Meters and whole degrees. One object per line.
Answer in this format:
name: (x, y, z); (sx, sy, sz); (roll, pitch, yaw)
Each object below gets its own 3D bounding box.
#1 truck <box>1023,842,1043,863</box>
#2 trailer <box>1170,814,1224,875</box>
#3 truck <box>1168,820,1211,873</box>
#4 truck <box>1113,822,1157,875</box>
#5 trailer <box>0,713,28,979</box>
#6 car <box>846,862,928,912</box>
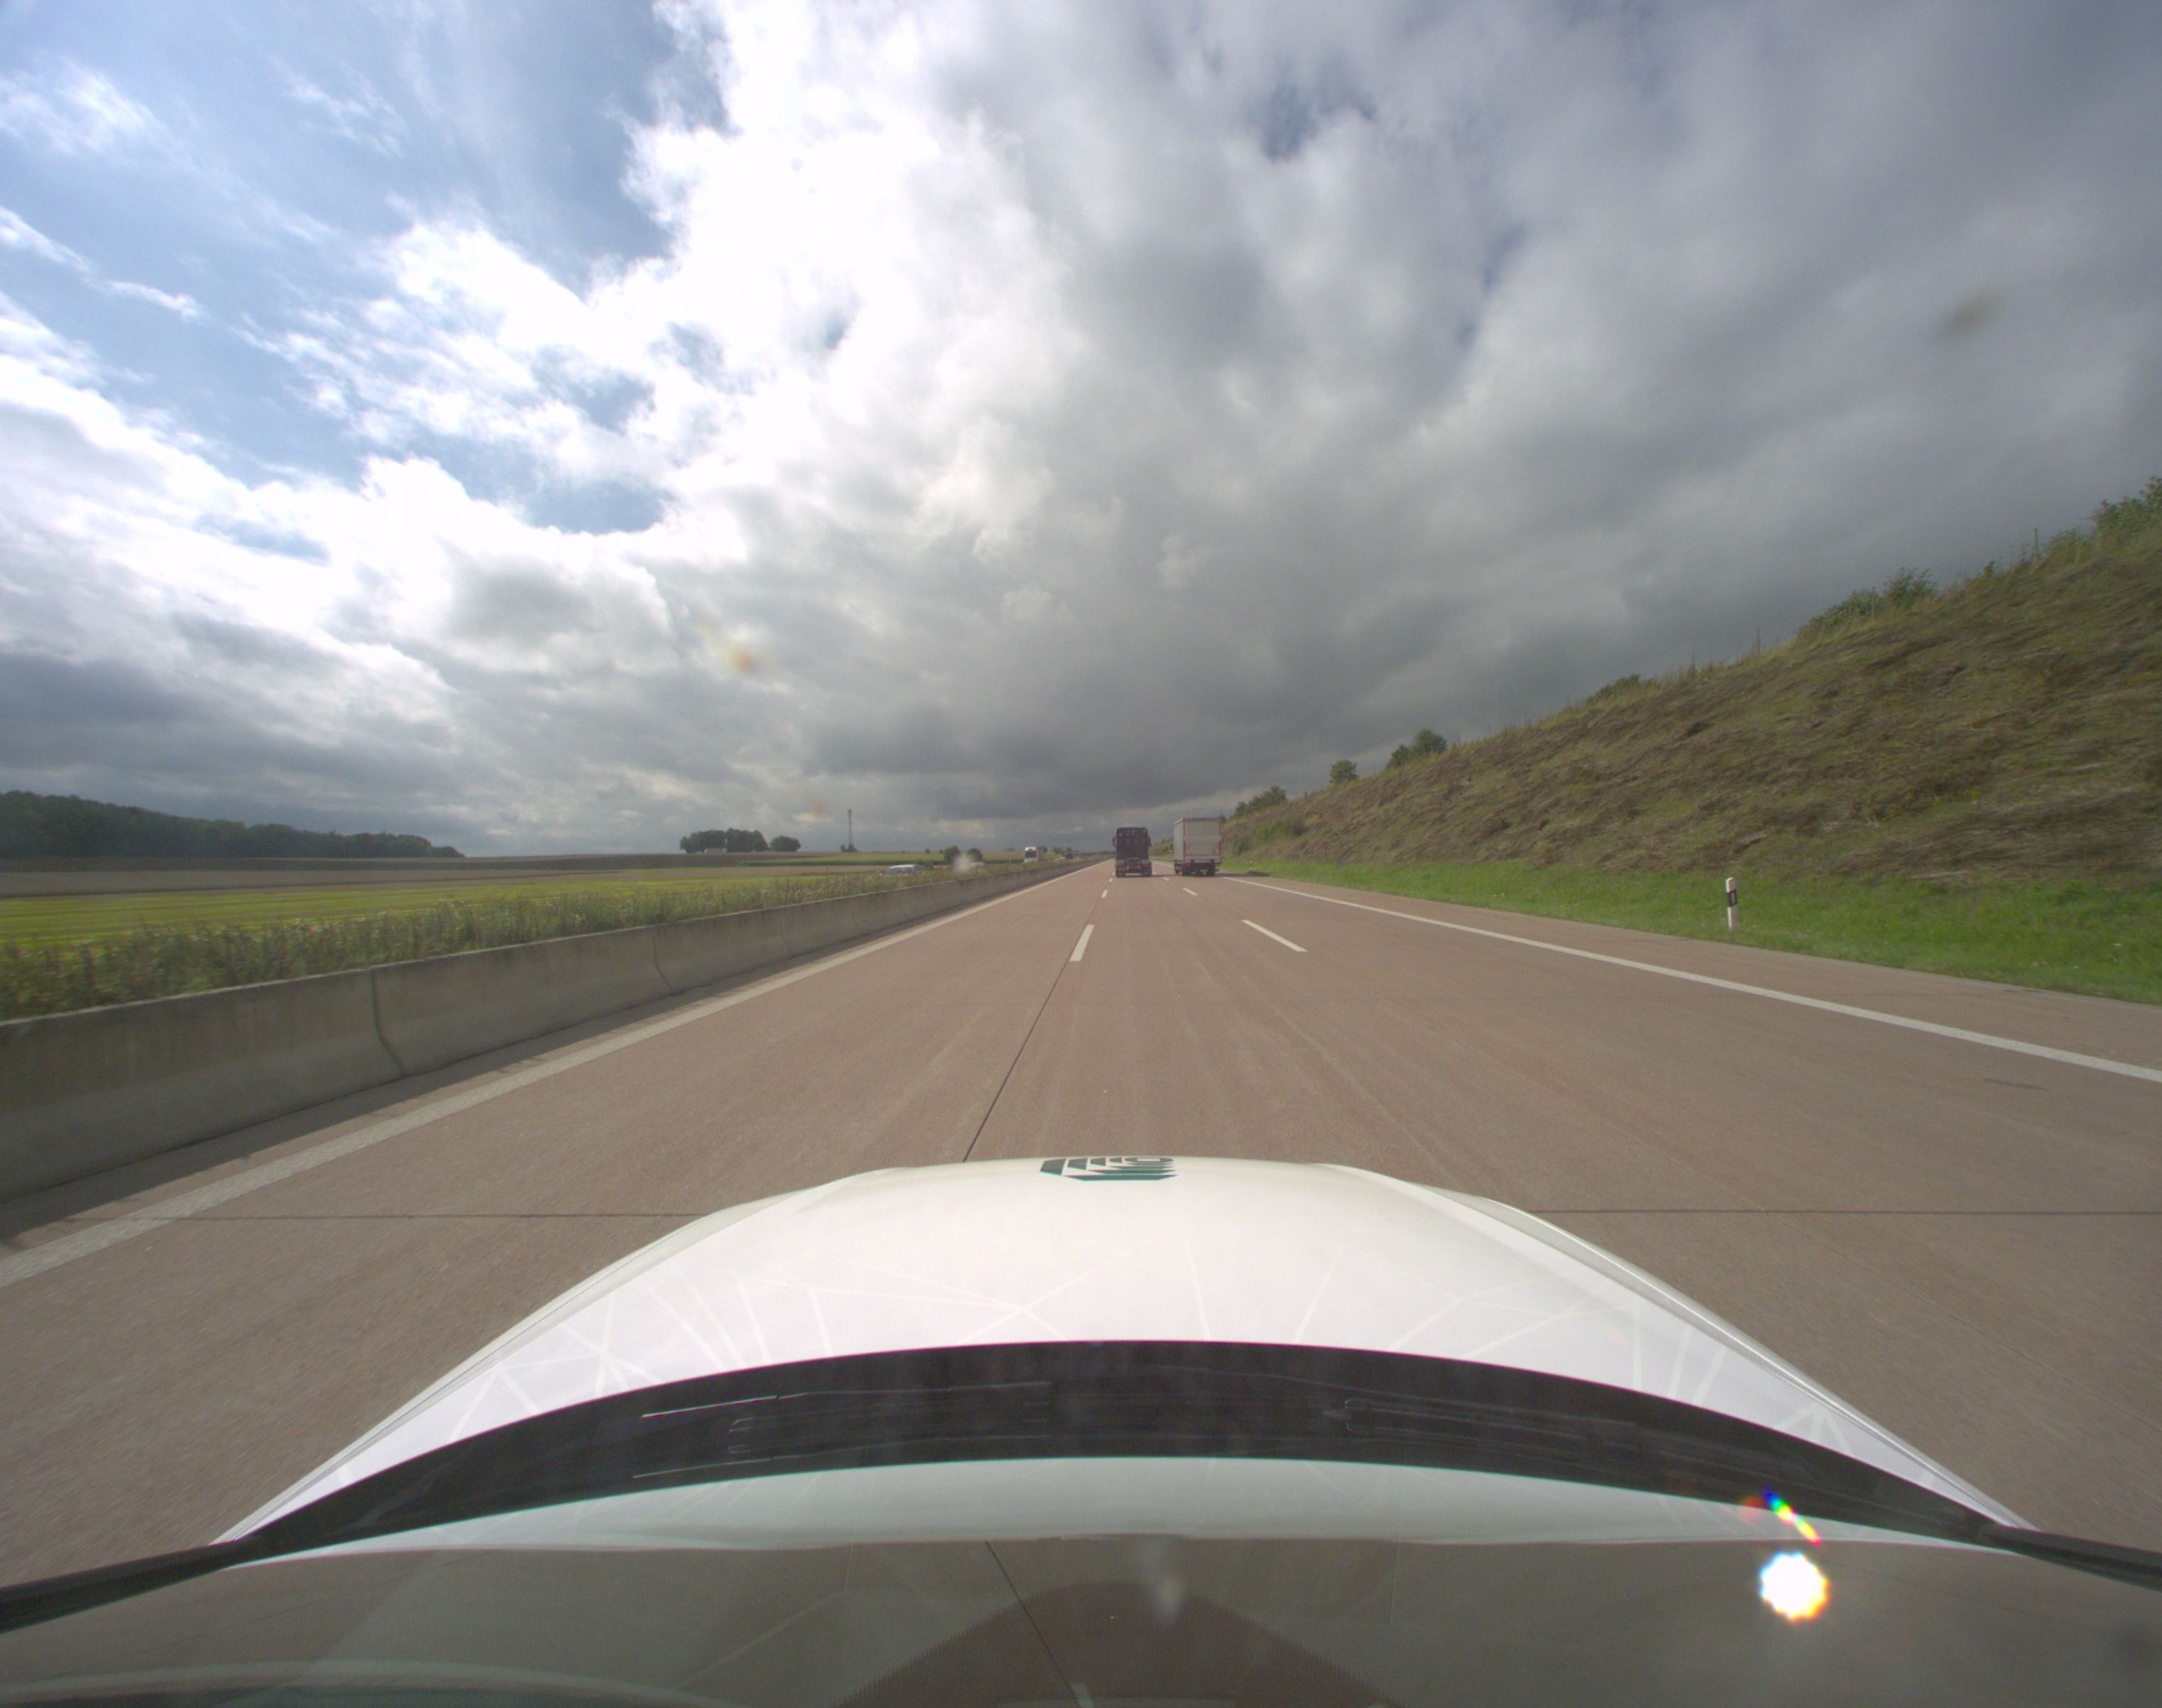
truck: (-9.693, -0.289, 164.401); (3.192, 4.098, 6.132); (0, 0, 3)
trailer: (8.207, -0.591, 58.460); (2.738, 4.012, 8.672); (-1, 0, 1)
truck: (8.287, -0.522, 62.819); (2.739, 3.892, 4.546); (-1, -1, 1)
truck: (3.825, -0.348, 59.356); (2.837, 3.550, 8.321); (-1, 0, 1)
trailer: (-17.701, -0.068, 5.232); (2.759, 3.959, 14.338); (-2, 0, 2)
car: (-8.627, 1.410, 36.802); (1.986, 1.909, 5.887); (-3, 0, 2)
